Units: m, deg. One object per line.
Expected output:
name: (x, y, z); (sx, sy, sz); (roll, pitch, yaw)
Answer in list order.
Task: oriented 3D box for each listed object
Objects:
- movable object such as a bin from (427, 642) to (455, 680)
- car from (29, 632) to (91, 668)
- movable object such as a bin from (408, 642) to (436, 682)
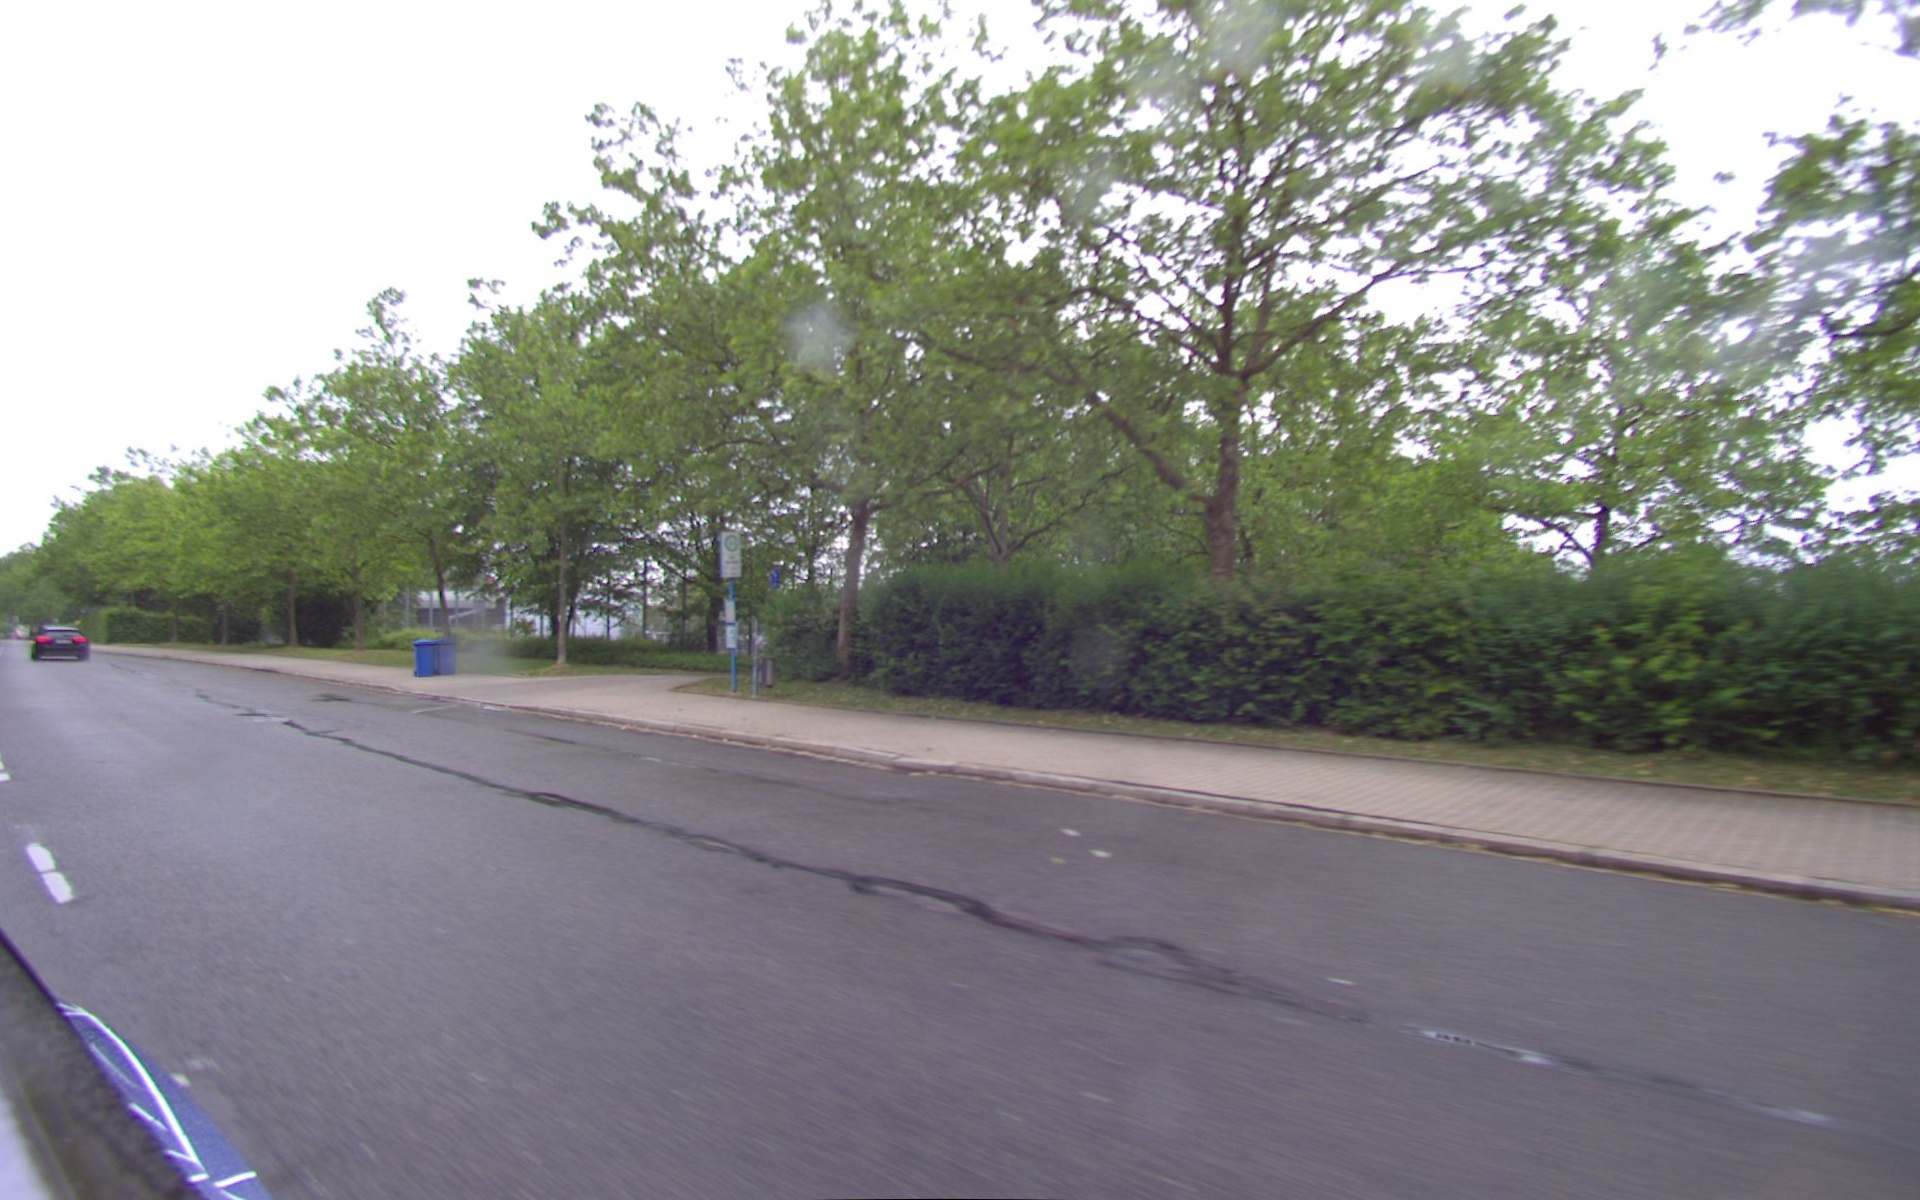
movable object such as a bin: (-15.438, 1.806, 30.113); (0.559, 1.107, 0.672); (-2, -1, -42)
car: (-38.296, 2.101, 43.045); (1.804, 1.476, 4.004); (3, -4, -43)
movable object such as a bin: (-15.662, 1.799, 29.466); (0.559, 1.107, 0.672); (-2, -1, -42)
